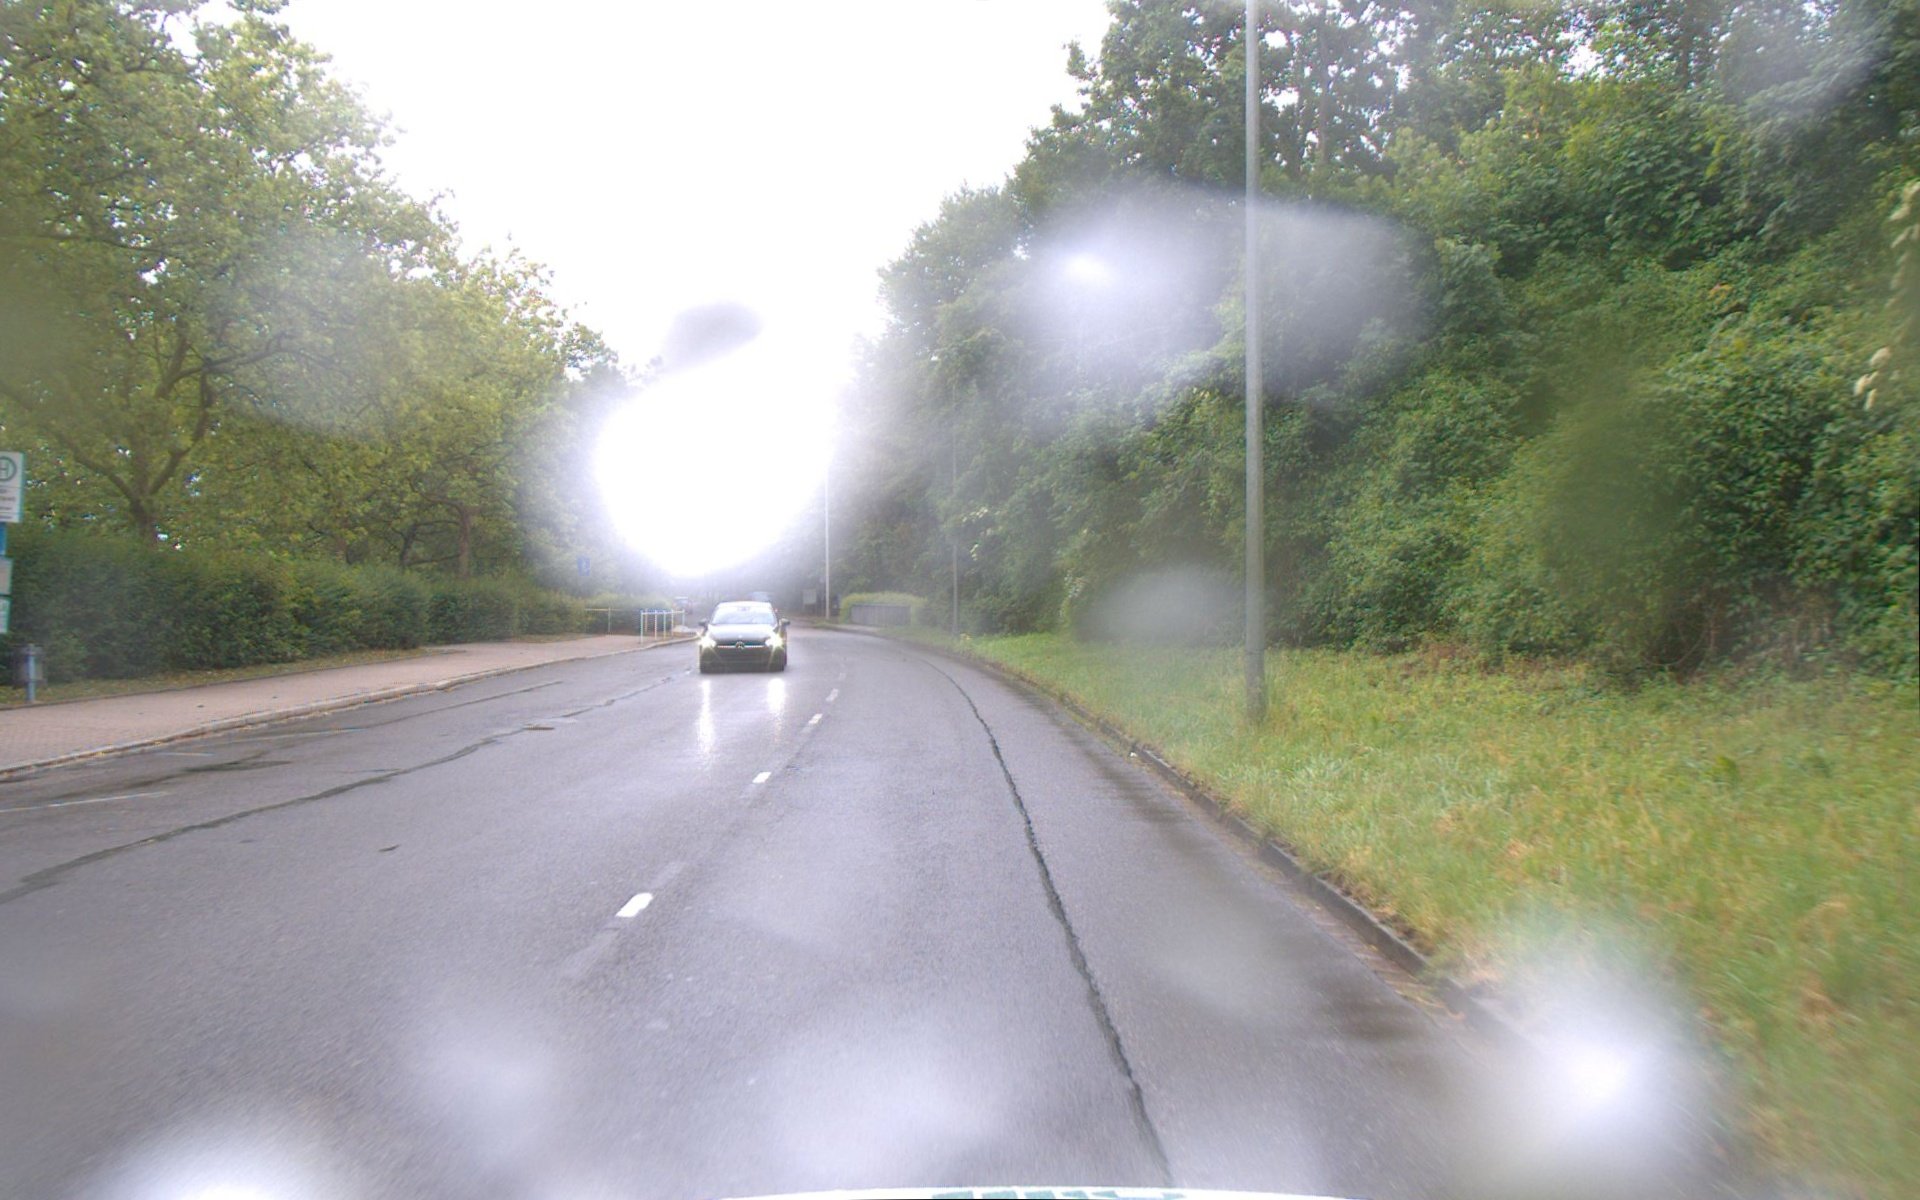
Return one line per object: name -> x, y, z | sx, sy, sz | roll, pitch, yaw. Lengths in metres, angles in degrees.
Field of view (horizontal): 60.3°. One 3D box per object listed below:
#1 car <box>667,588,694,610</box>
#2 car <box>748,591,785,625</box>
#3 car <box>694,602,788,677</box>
car -> -23.542, -0.068, 139.200 | 1.959, 1.847, 3.987 | 1, -1, -12
car -> -11.253, 0.451, 96.049 | 1.949, 1.959, 3.991 | 0, 0, -10
car -> -4.656, 0.814, 35.596 | 1.791, 1.490, 3.996 | -1, 0, -5
